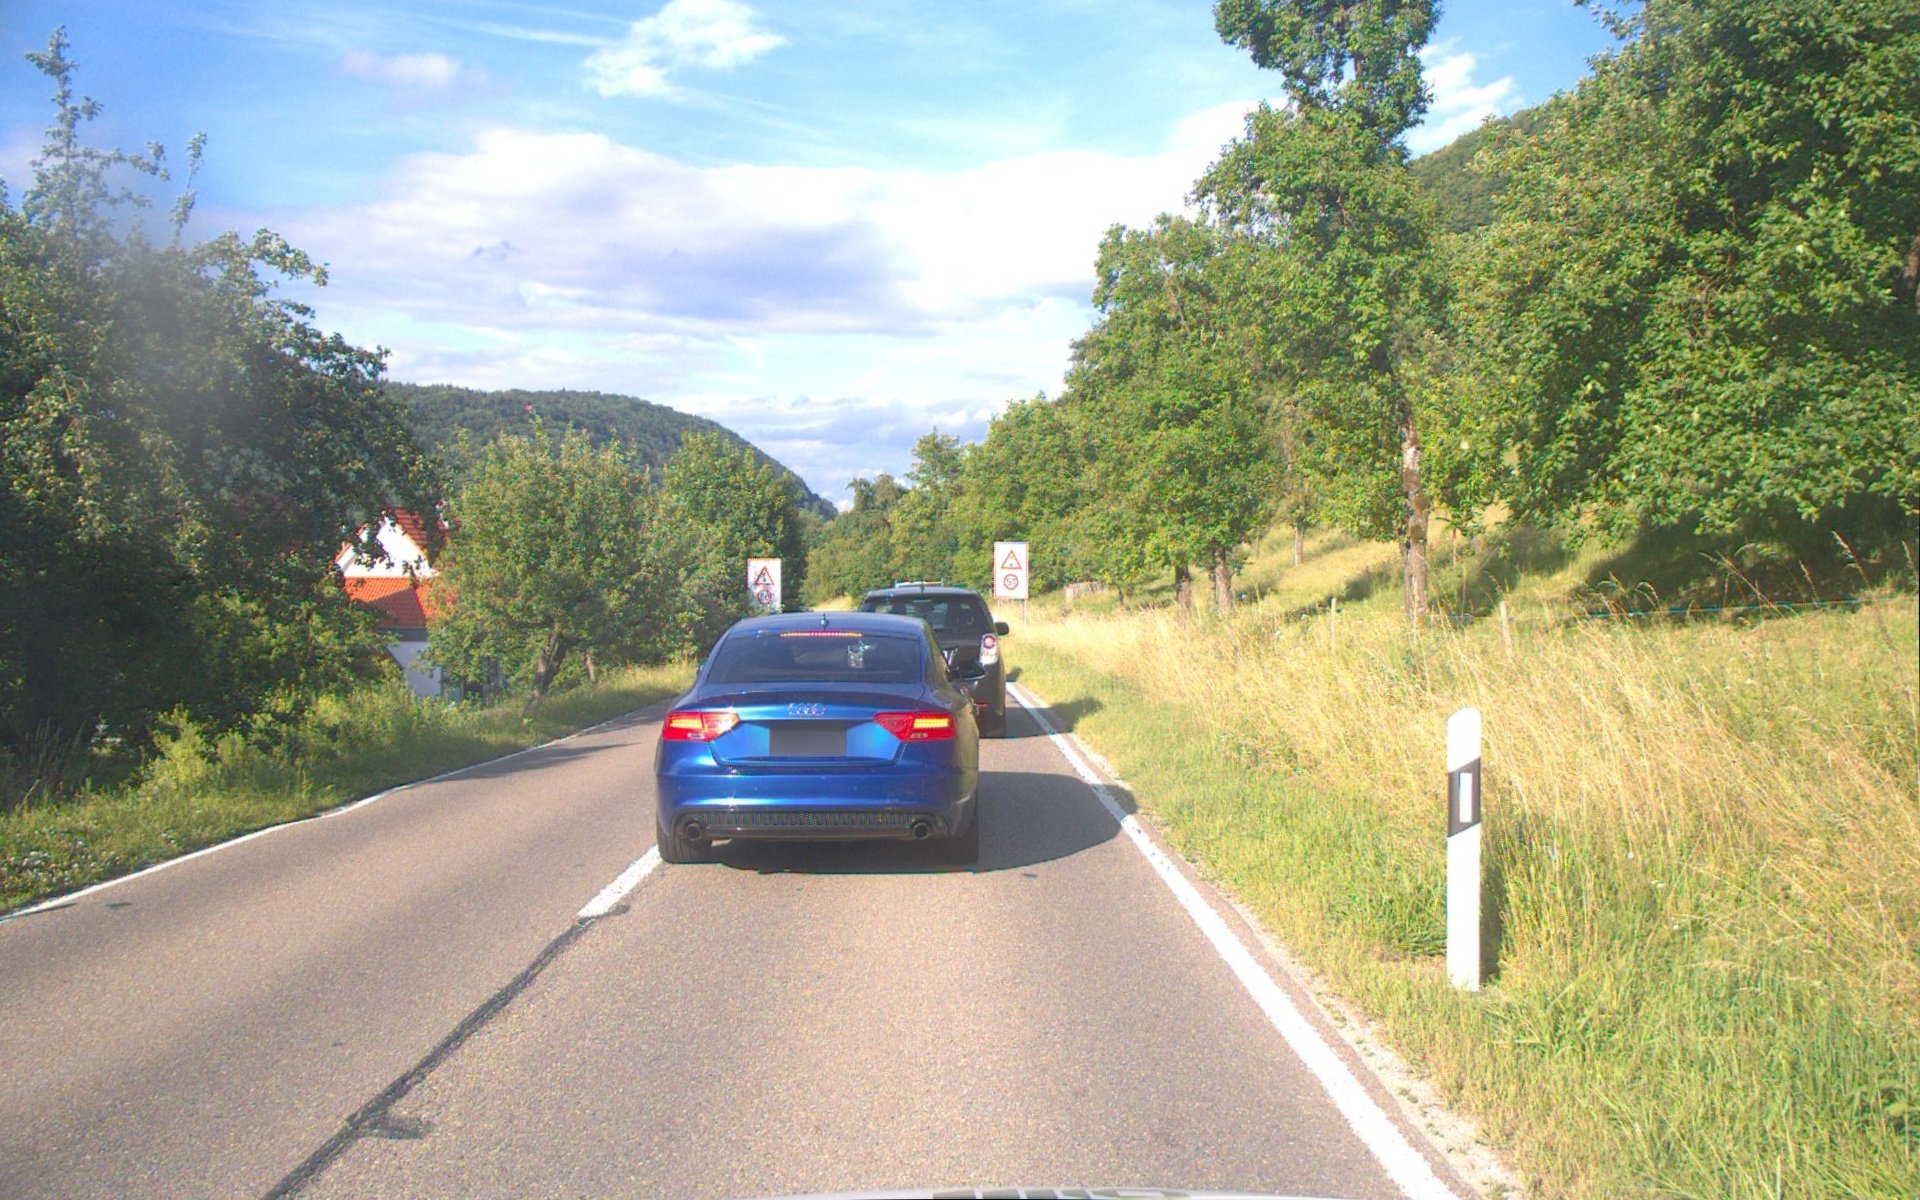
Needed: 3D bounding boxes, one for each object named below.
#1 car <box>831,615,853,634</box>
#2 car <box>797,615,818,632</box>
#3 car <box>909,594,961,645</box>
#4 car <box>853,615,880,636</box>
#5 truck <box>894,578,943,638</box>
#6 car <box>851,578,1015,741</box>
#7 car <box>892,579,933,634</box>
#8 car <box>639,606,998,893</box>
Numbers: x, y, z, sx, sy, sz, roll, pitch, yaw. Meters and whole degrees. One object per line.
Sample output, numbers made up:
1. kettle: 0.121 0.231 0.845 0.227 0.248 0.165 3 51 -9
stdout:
1. car: -10.130 2.102 142.163 1.530 1.522 3.770 2 0 -9
2. car: -15.093 2.319 163.391 1.532 1.522 3.765 2 0 -13
3. car: -0.851 0.642 55.805 1.658 1.652 3.788 0 0 -1
4. car: -7.227 1.943 127.147 1.716 1.522 3.770 2 0 -9
5. truck: -1.760 0.320 69.802 1.910 2.386 5.092 2 0 -2
6. car: -0.309 0.600 18.733 1.658 1.652 3.788 0 0 -1
7. car: -2.295 0.303 79.609 1.757 2.496 3.916 2 0 -4
8. car: -0.720 0.746 10.289 1.769 1.406 4.214 0 0 -1
